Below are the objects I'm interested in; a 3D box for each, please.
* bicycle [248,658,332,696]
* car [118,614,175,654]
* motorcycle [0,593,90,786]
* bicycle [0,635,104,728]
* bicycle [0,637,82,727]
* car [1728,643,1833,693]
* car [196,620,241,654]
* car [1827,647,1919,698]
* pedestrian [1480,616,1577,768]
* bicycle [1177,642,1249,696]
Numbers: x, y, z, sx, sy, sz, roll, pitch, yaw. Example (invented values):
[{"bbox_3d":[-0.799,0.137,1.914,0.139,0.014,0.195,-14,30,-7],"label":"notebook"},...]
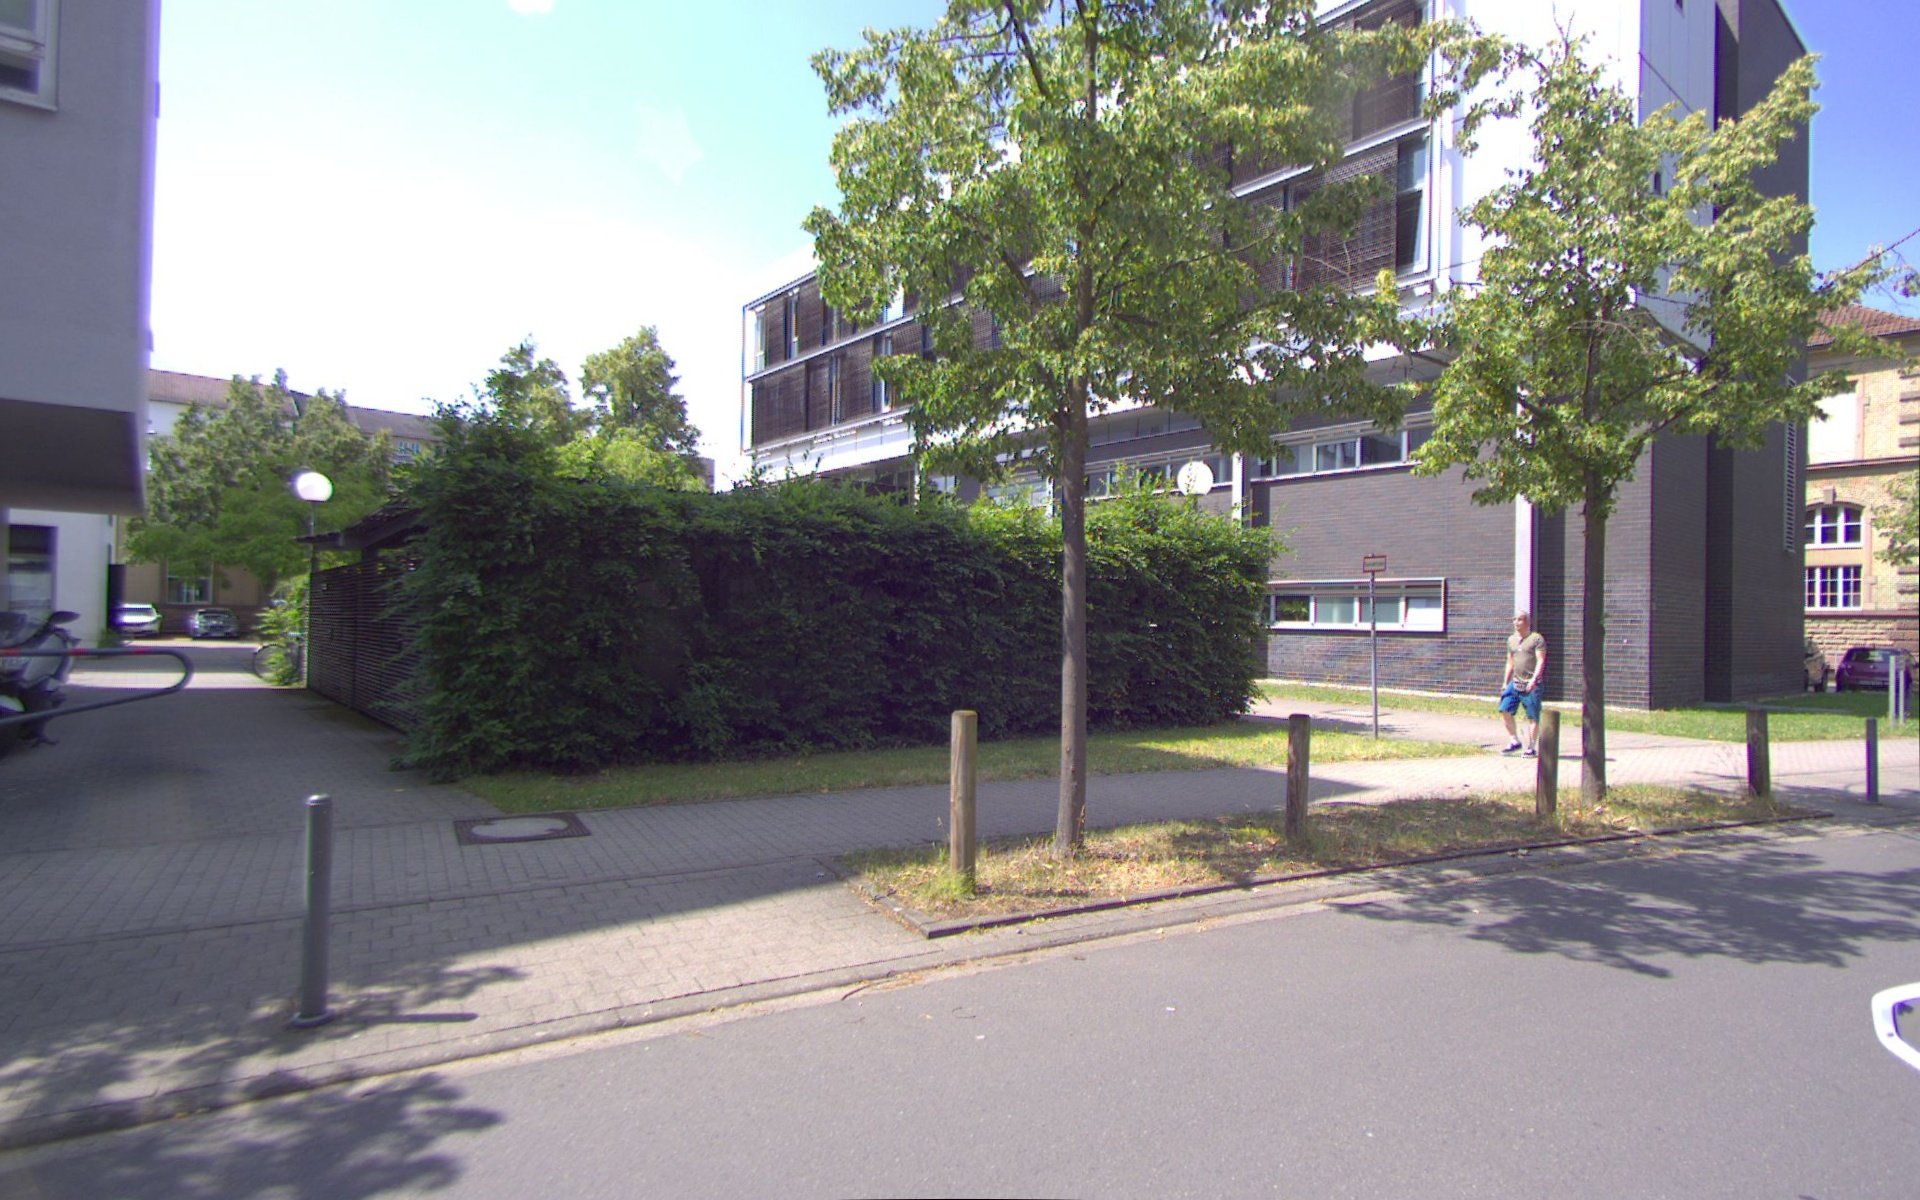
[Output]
[{"bbox_3d":[-13.101,1.496,19.663,1.321,0.720,0.442,2,-1,-30],"label":"bicycle"},{"bbox_3d":[-37.197,1.534,45.981,1.801,1.711,3.959,2,-2,-36],"label":"car"},{"bbox_3d":[-8.504,0.733,8.960,1.074,1.571,2.076,2,-1,-42],"label":"motorcycle"},{"bbox_3d":[-12.234,1.045,13.423,0.515,1.136,2.041,1,-1,-20],"label":"bicycle"},{"bbox_3d":[-13.041,1.105,13.967,0.573,1.136,1.885,1,-1,-20],"label":"bicycle"},{"bbox_3d":[25.485,2.051,31.167,4.129,1.341,1.801,2,0,-41],"label":"car"},{"bbox_3d":[-34.989,1.728,47.429,1.613,1.552,3.959,2,-2,-36],"label":"car"},{"bbox_3d":[26.957,2.076,29.453,3.738,1.341,1.802,2,-2,-41],"label":"car"},{"bbox_3d":[6.917,1.099,12.235,0.897,1.787,0.583,1,-1,-20],"label":"pedestrian"},{"bbox_3d":[5.873,1.567,23.221,2.035,1.177,0.575,2,-2,-42],"label":"bicycle"}]
